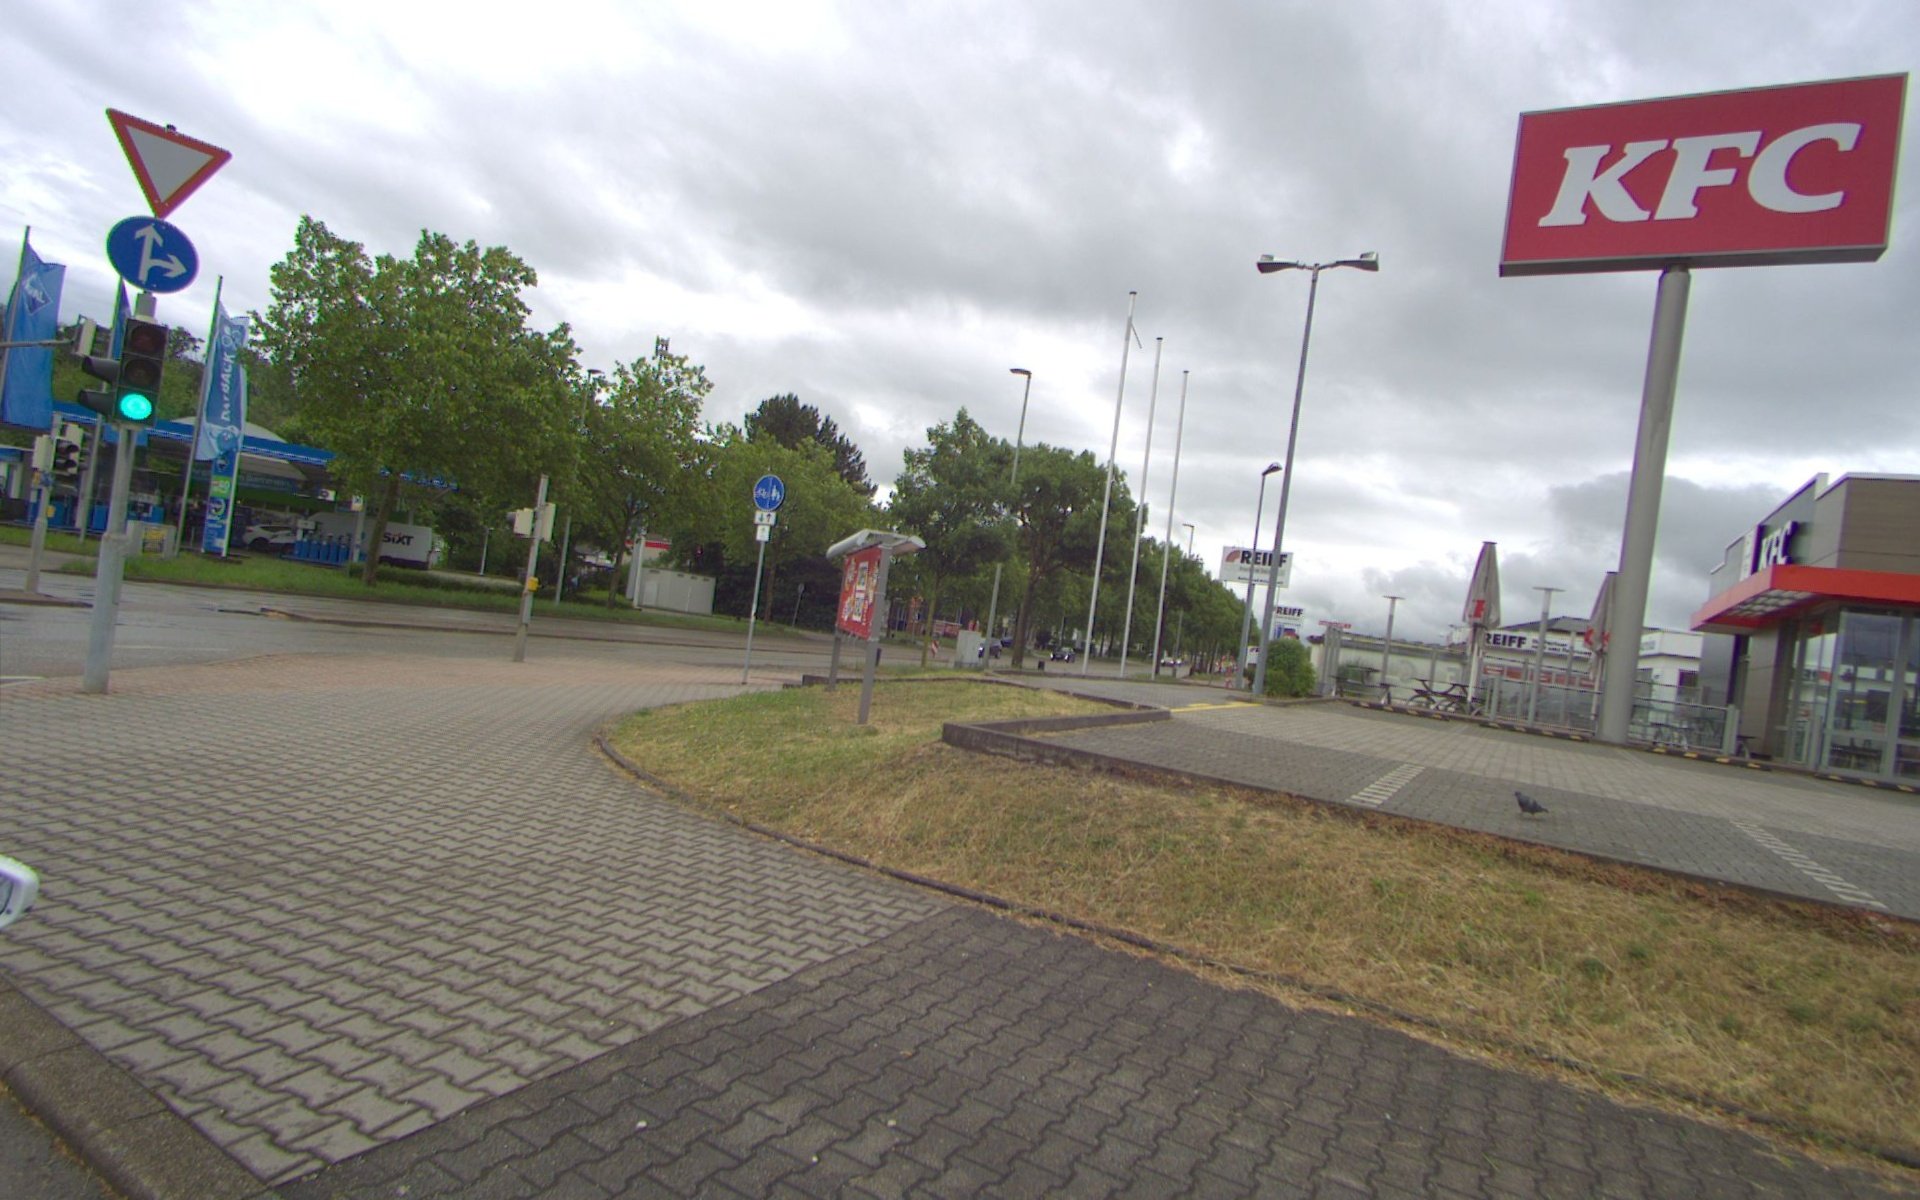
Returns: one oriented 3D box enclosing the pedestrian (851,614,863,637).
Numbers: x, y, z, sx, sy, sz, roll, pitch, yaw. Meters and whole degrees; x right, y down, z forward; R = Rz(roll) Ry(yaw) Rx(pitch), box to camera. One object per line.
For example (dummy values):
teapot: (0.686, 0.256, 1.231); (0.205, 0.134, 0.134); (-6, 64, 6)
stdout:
pedestrian: (-7.787, 1.935, 76.002); (0.504, 1.703, 0.540); (6, -1, 21)

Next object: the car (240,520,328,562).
car: (-36.201, -3.133, 53.965); (3.523, 1.599, 1.679); (10, -2, -27)

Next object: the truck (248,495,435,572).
truck: (-31.334, -3.274, 51.252); (7.795, 2.706, 2.137); (7, -2, -33)

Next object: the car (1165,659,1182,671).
car: (33.078, 10.059, 155.861); (1.784, 1.579, 4.602); (6, -2, 21)

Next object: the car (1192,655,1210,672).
car: (31.461, 8.307, 131.201); (1.718, 2.037, 4.003); (7, -2, 19)

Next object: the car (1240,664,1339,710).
car: (15.773, 4.154, 48.158); (4.116, 1.570, 1.888); (6, -1, 28)

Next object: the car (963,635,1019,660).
car: (2.213, 3.329, 70.363); (1.965, 1.527, 4.725); (6, 0, 26)

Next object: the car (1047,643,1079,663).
car: (9.483, 4.858, 92.282); (1.619, 1.526, 3.893); (6, -2, 24)

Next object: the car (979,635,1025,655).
car: (4.584, 4.890, 109.447); (4.639, 1.525, 2.004); (6, -3, 12)

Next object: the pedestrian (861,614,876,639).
pedestrian: (-6.924, 1.997, 76.022); (0.657, 1.788, 0.580); (8, 0, 42)

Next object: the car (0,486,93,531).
car: (-48.052, -4.770, 52.435); (3.958, 1.748, 1.781); (8, -1, -31)

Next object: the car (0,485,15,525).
car: (-47.370, -4.762, 47.065); (4.081, 1.828, 1.933); (8, -2, -28)
